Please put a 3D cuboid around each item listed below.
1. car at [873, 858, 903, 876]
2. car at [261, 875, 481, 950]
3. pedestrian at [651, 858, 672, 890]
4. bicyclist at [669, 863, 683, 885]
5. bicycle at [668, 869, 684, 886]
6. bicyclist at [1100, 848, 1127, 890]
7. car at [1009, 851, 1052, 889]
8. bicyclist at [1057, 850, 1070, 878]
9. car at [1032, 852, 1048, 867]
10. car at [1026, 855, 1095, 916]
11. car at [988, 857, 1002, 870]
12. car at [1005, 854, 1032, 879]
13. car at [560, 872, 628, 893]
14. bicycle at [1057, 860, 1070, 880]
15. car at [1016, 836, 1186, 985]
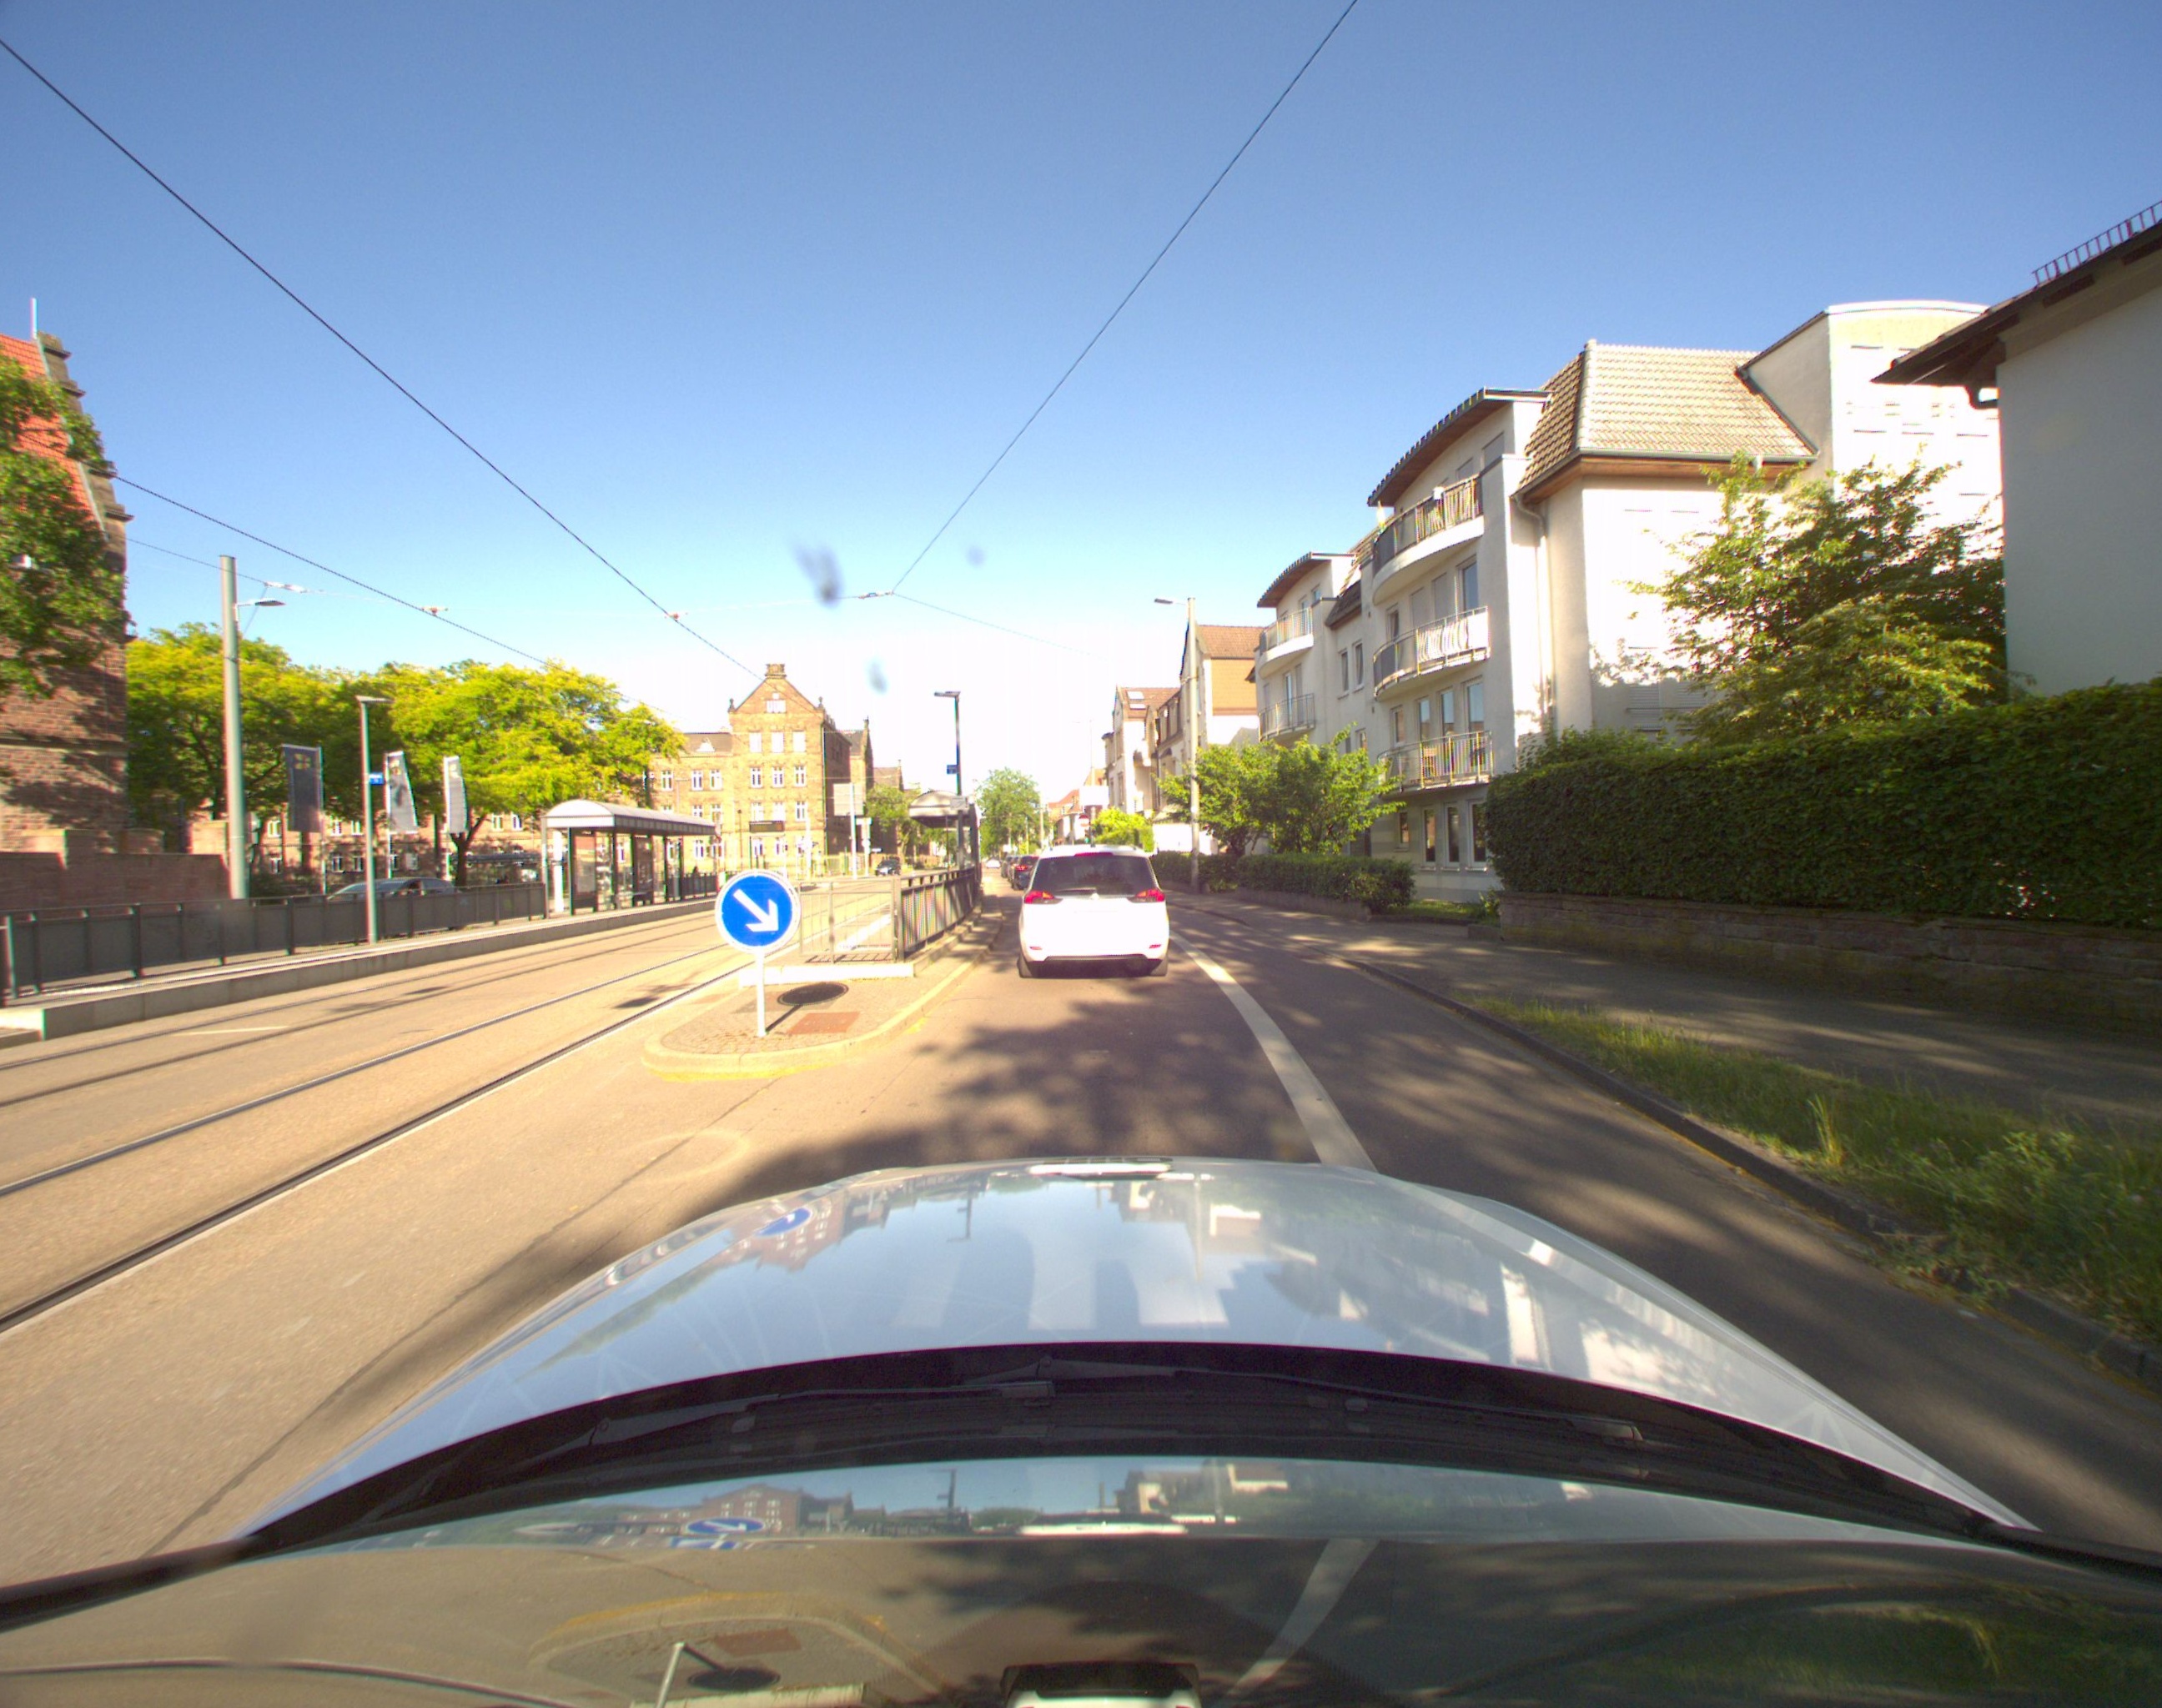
[{"bbox_3d":[-19.804,1.324,83.657,1.899,1.677,4.360,-2,0,2],"label":"car"},{"bbox_3d":[-16.879,1.320,19.685,1.851,1.403,3.977,-5,0,-4],"label":"car"},{"bbox_3d":[-24.938,1.198,48.401,0.725,1.861,1.094,-1,-1,-4],"label":"pedestrian"},{"bbox_3d":[-25.391,1.252,51.048,0.693,1.383,0.528,-1,-1,-33],"label":"bicyclist"},{"bbox_3d":[-25.321,1.447,50.938,0.696,1.049,1.652,-1,-1,-33],"label":"bicycle"},{"bbox_3d":[1.212,0.546,30.182,0.820,1.501,0.932,-1,-1,-7],"label":"bicyclist"},{"bbox_3d":[-2.378,0.719,37.729,1.774,1.632,3.871,-1,-1,-6],"label":"car"},{"bbox_3d":[-1.066,0.595,48.909,0.684,1.634,1.014,-1,-1,-4],"label":"bicyclist"},{"bbox_3d":[-4.983,0.655,97.589,1.773,1.632,3.874,-1,-1,-5],"label":"car"},{"bbox_3d":[-0.626,0.762,21.820,1.584,1.420,3.893,-2,0,-5],"label":"car"},{"bbox_3d":[-11.617,1.228,109.967,1.773,1.692,3.874,-1,-1,-5],"label":"car"},{"bbox_3d":[-4.450,0.874,58.143,1.773,1.632,3.874,-1,-1,-4],"label":"car"},{"bbox_3d":[-37.622,2.180,62.936,4.058,1.522,1.874,-1,-1,-5],"label":"car"},{"bbox_3d":[-1.046,0.953,48.771,0.684,1.157,1.617,-1,-1,-4],"label":"bicycle"},{"bbox_3d":[0.085,0.657,11.223,1.832,1.642,3.910,-1,-1,-6],"label":"car"}]
